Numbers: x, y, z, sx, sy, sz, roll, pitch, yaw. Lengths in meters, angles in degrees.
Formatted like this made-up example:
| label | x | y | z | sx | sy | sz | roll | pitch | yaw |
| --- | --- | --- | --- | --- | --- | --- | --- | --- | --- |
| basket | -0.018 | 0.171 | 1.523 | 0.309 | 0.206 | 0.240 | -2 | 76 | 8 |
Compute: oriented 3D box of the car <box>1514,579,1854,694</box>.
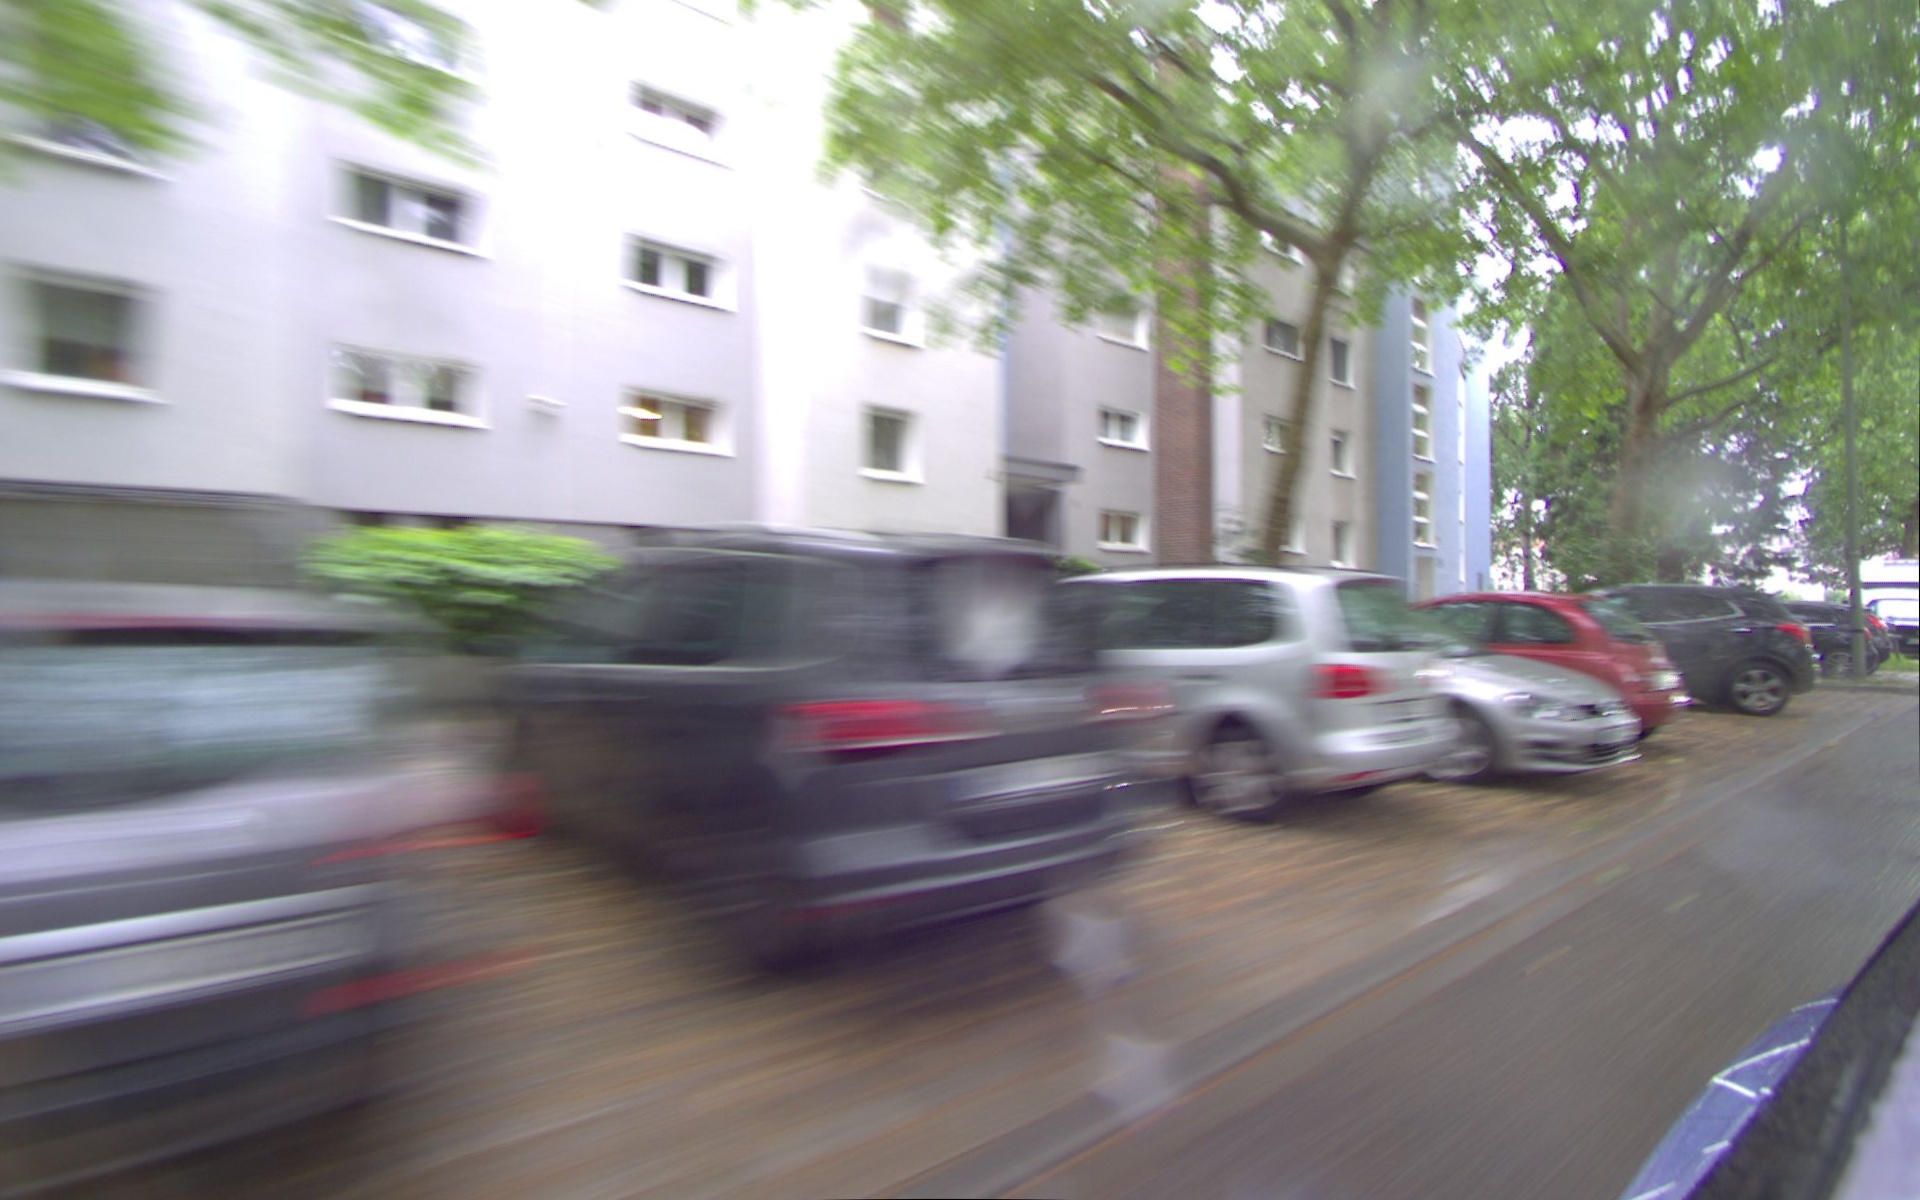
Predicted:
| label | x | y | z | sx | sy | sz | roll | pitch | yaw |
| --- | --- | --- | --- | --- | --- | --- | --- | --- | --- |
| car | 11.169 | 0.567 | 16.021 | 3.953 | 1.622 | 2.020 | -1 | -1 | 23 |

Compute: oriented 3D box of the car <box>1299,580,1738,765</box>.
| label | x | y | z | sx | sy | sz | roll | pitch | yaw |
| --- | --- | --- | --- | --- | --- | --- | --- | --- | --- |
| car | 5.732 | 0.602 | 10.762 | 1.706 | 1.556 | 3.714 | 0 | 1 | -37 |

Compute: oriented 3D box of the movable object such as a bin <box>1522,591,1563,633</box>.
| label | x | y | z | sx | sy | sz | roll | pitch | yaw |
| --- | --- | --- | --- | --- | --- | --- | --- | --- | --- |
| movable object such as a bin | 20.876 | 0.437 | 36.248 | 1.207 | 1.451 | 1.842 | -1 | -2 | 31 |

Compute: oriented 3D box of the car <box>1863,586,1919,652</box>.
| label | x | y | z | sx | sy | sz | roll | pitch | yaw |
| --- | --- | --- | --- | --- | --- | --- | --- | --- | --- |
| car | 25.126 | 0.490 | 26.529 | 1.680 | 1.674 | 2.911 | -1 | -2 | 33 |

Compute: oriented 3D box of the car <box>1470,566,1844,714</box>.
| label | x | y | z | sx | sy | sz | roll | pitch | yaw |
| --- | --- | --- | --- | --- | --- | --- | --- | --- | --- |
| car | 9.220 | 0.468 | 13.808 | 3.823 | 1.719 | 1.824 | 2 | 0 | 22 |

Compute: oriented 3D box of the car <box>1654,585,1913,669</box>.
| label | x | y | z | sx | sy | sz | roll | pitch | yaw |
| --- | --- | --- | --- | --- | --- | --- | --- | --- | --- |
| car | 16.942 | 0.569 | 21.066 | 3.721 | 1.622 | 1.791 | -1 | -1 | 20 |

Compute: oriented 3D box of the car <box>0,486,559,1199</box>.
| label | x | y | z | sx | sy | sz | roll | pitch | yaw |
| --- | --- | --- | --- | --- | --- | --- | --- | --- | --- |
| car | -2.852 | 0.616 | 3.438 | 1.602 | 1.557 | 3.993 | 1 | -2 | -40 |

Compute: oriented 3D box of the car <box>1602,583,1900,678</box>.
| label | x | y | z | sx | sy | sz | roll | pitch | yaw |
| --- | --- | --- | --- | --- | --- | --- | --- | --- | --- |
| car | 14.554 | 0.566 | 18.912 | 3.949 | 1.622 | 1.791 | -1 | -1 | 20 |

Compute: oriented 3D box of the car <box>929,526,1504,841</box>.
| label | x | y | z | sx | sy | sz | roll | pitch | yaw |
| --- | --- | --- | --- | --- | --- | --- | --- | --- | --- |
| car | 1.686 | 0.508 | 7.757 | 1.769 | 1.750 | 3.994 | 1 | -2 | -40 |

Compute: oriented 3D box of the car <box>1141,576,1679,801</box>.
| label | x | y | z | sx | sy | sz | roll | pitch | yaw |
| --- | --- | --- | --- | --- | --- | --- | --- | --- | --- |
| car | 3.755 | 0.648 | 8.992 | 1.770 | 1.532 | 3.991 | 1 | -2 | -42 |

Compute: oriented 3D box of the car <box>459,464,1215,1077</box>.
| label | x | y | z | sx | sy | sz | roll | pitch | yaw |
| --- | --- | --- | --- | --- | --- | --- | --- | --- | --- |
| car | -1.042 | 0.540 | 5.210 | 1.786 | 1.784 | 4.345 | 1 | -2 | -40 |

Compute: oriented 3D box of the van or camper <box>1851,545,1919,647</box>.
| label | x | y | z | sx | sy | sz | roll | pitch | yaw |
| --- | --- | --- | --- | --- | --- | --- | --- | --- | --- |
| van or camper | 29.151 | -0.107 | 30.521 | 6.740 | 2.843 | 2.323 | 0 | -1 | -39 |
